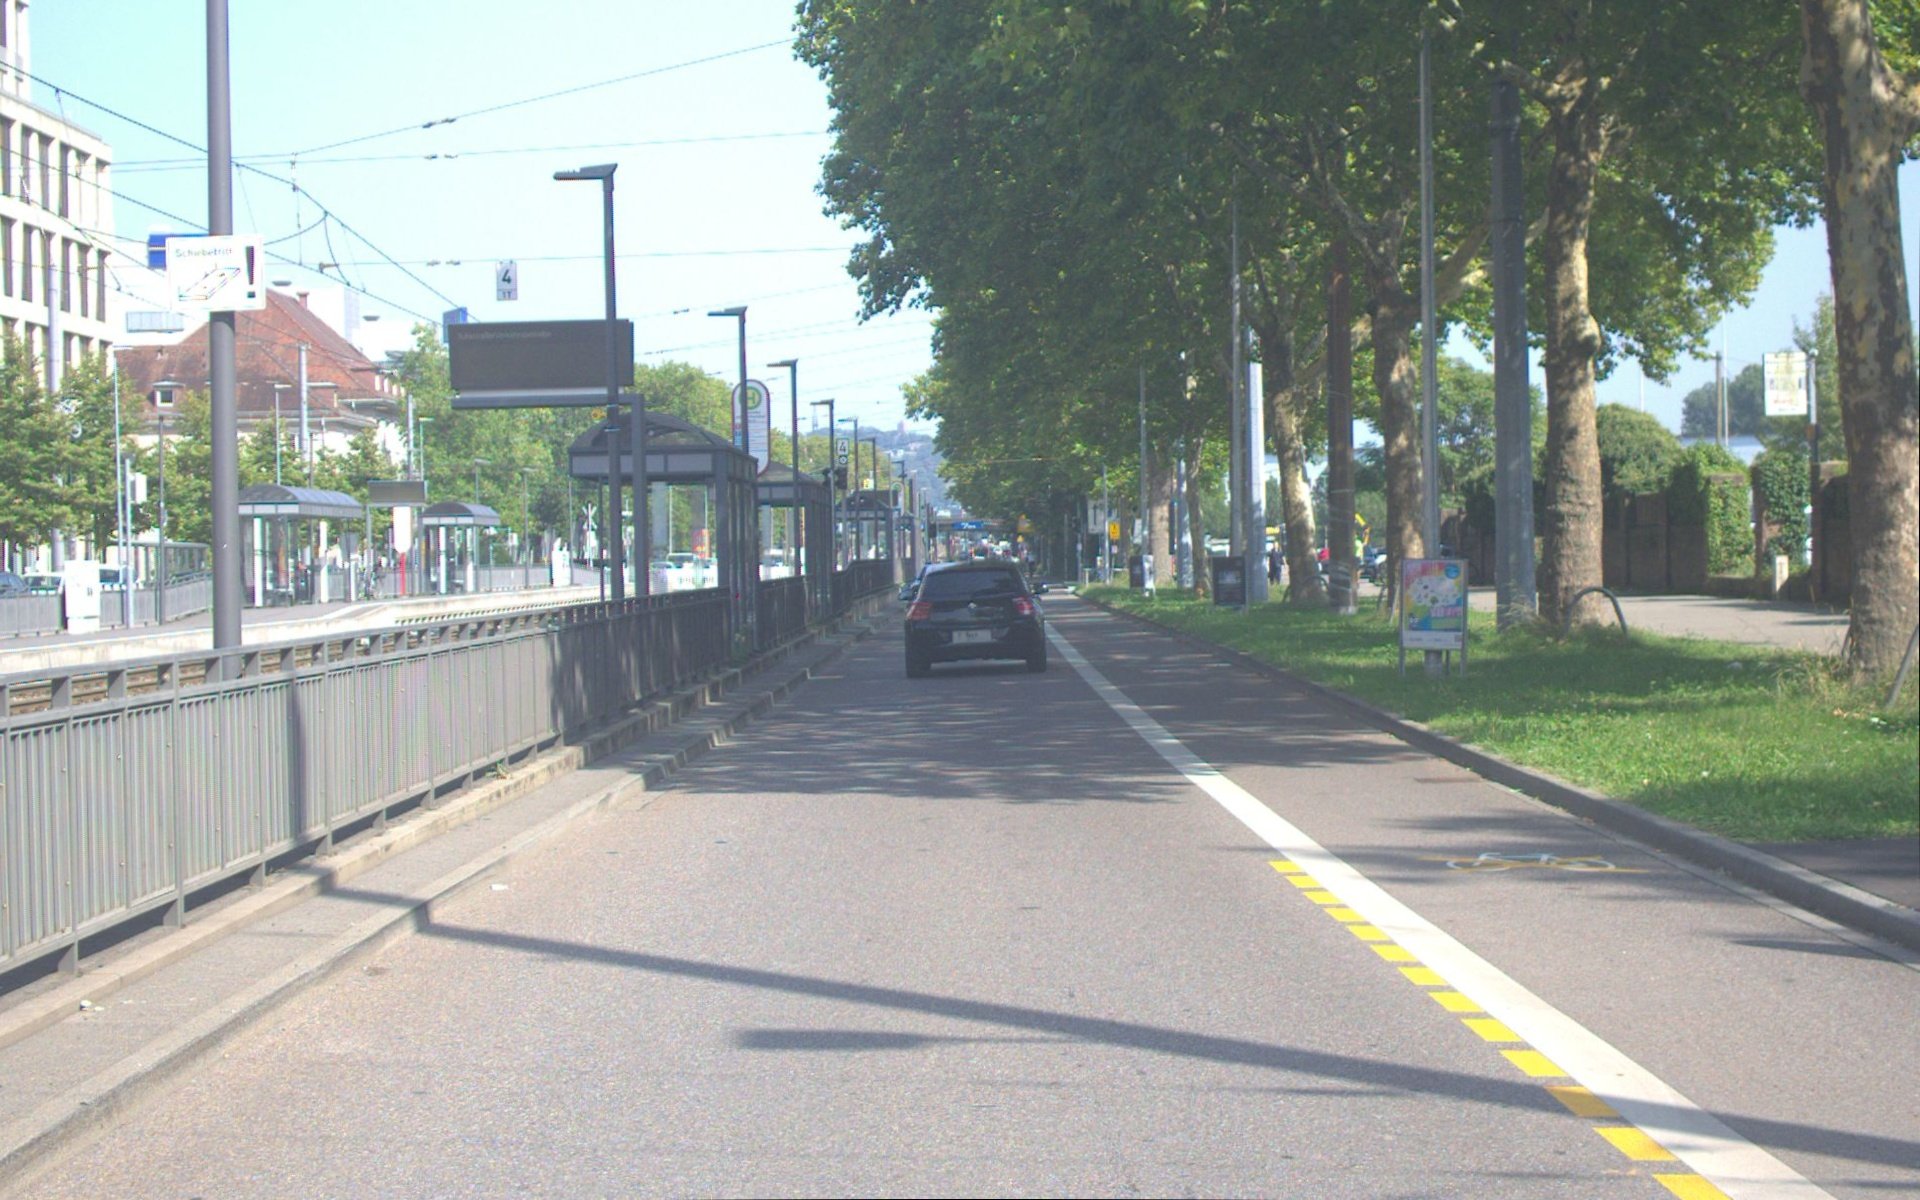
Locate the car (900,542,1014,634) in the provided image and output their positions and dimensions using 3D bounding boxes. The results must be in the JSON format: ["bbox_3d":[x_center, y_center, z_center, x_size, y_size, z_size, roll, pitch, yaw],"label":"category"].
[{"bbox_3d":[-0.065,-0.234,64.869,1.973,1.532,4.000,-5,0,0],"label":"car"}]

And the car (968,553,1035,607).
[{"bbox_3d":[1.230,-0.621,102.716,1.907,1.532,4.000,-1,1,0],"label":"car"}]

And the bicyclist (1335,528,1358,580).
[{"bbox_3d":[10.978,-1.313,97.584,0.548,1.448,0.842,-1,1,1],"label":"bicyclist"}]

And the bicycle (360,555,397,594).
[{"bbox_3d":[-16.988,-0.745,100.394,0.471,1.143,1.482,-1,0,15],"label":"bicycle"}]

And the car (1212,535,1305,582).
[{"bbox_3d":[13.616,-1.889,156.877,4.104,1.912,1.847,-3,0,4],"label":"car"}]

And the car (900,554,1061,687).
[{"bbox_3d":[0.243,0.236,44.306,1.907,1.532,4.000,-3,1,0],"label":"car"}]

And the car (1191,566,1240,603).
[{"bbox_3d":[10.648,-0.650,143.595,1.728,1.444,4.550,-2,1,1],"label":"car"}]

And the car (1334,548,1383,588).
[{"bbox_3d":[16.740,-1.349,144.685,1.608,1.570,3.796,-2,1,1],"label":"car"}]

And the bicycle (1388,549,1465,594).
[{"bbox_3d":[14.771,-0.897,108.894,2.244,1.272,0.999,-3,-1,0],"label":"bicycle"}]

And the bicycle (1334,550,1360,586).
[{"bbox_3d":[10.991,-0.910,97.592,0.548,1.003,1.713,-1,1,1],"label":"bicycle"}]

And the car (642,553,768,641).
[{"bbox_3d":[-4.782,-0.080,64.912,1.993,1.554,4.000,-1,1,1],"label":"car"}]

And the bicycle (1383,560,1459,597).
[{"bbox_3d":[14.004,-0.642,104.378,2.173,1.073,0.743,-1,0,-1],"label":"bicycle"}]
